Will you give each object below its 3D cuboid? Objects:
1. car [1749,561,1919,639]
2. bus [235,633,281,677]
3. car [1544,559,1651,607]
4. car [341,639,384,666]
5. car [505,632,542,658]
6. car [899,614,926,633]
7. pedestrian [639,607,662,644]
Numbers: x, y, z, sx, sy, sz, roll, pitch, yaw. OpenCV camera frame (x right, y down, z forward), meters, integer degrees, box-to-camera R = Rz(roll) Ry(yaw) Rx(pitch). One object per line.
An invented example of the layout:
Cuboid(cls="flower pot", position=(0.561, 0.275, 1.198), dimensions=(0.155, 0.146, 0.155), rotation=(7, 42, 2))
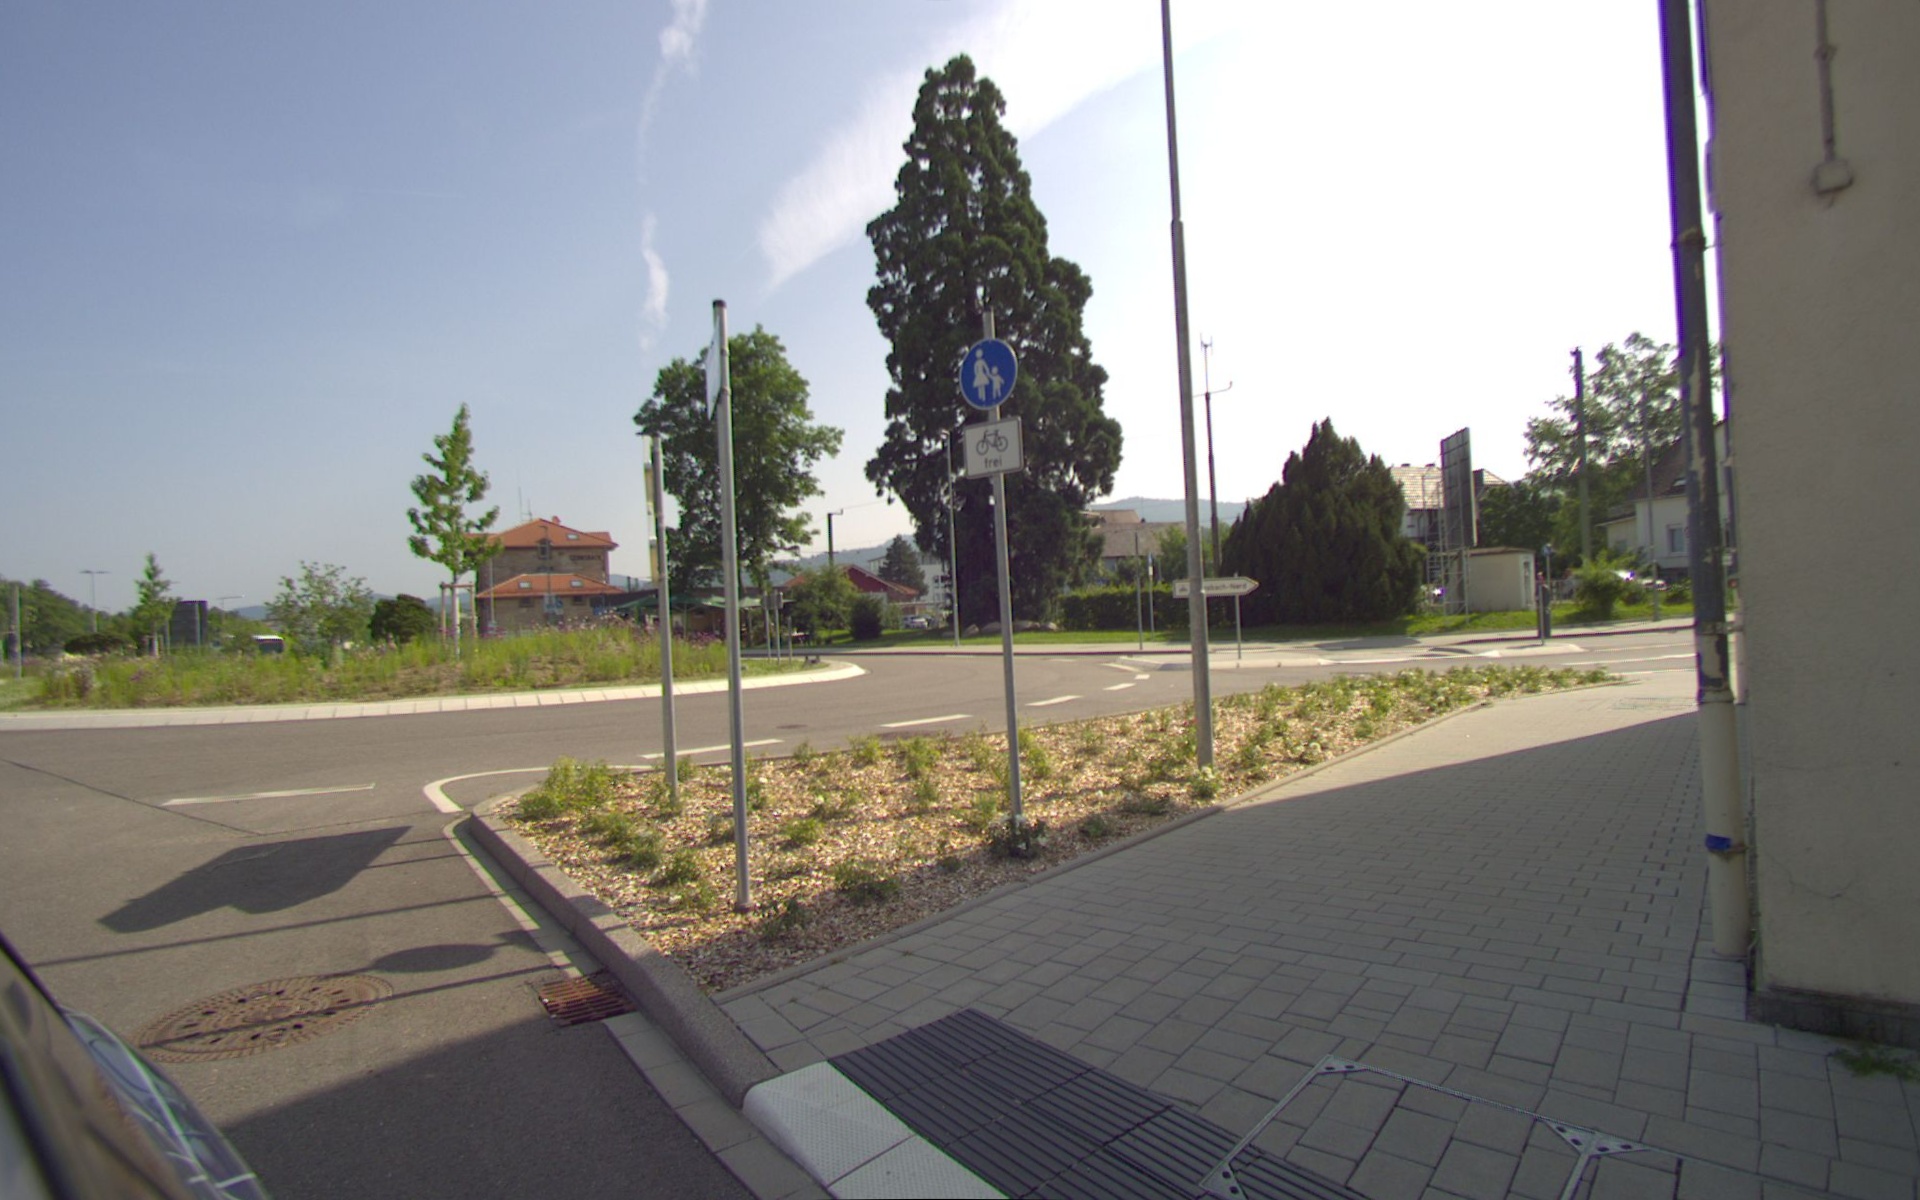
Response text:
Cuboid(cls="car", position=(20.501, -0.021, 23.240), dimensions=(3.933, 1.408, 1.719), rotation=(-6, 0, -17))
Cuboid(cls="bus", position=(-61.196, 4.775, 88.106), dimensions=(2.547, 3.353, 10.610), rotation=(-5, 0, -37))
Cuboid(cls="car", position=(30.525, -0.808, 48.525), dimensions=(3.997, 1.929, 1.869), rotation=(-5, 1, 41))
Cuboid(cls="car", position=(-50.201, 4.386, 85.144), dimensions=(1.945, 1.979, 5.173), rotation=(-5, 0, -19))
Cuboid(cls="car", position=(-30.462, 3.113, 70.623), dimensions=(1.652, 1.580, 3.661), rotation=(-5, 2, -33))
Cuboid(cls="car", position=(-4.257, 2.093, 90.341), dimensions=(1.580, 1.505, 3.661), rotation=(-5, 2, -13))
Cuboid(cls="pedestrian", position=(-17.885, 1.476, 58.414), dimensions=(0.706, 2.028, 0.851), rotation=(-5, 0, 28))
